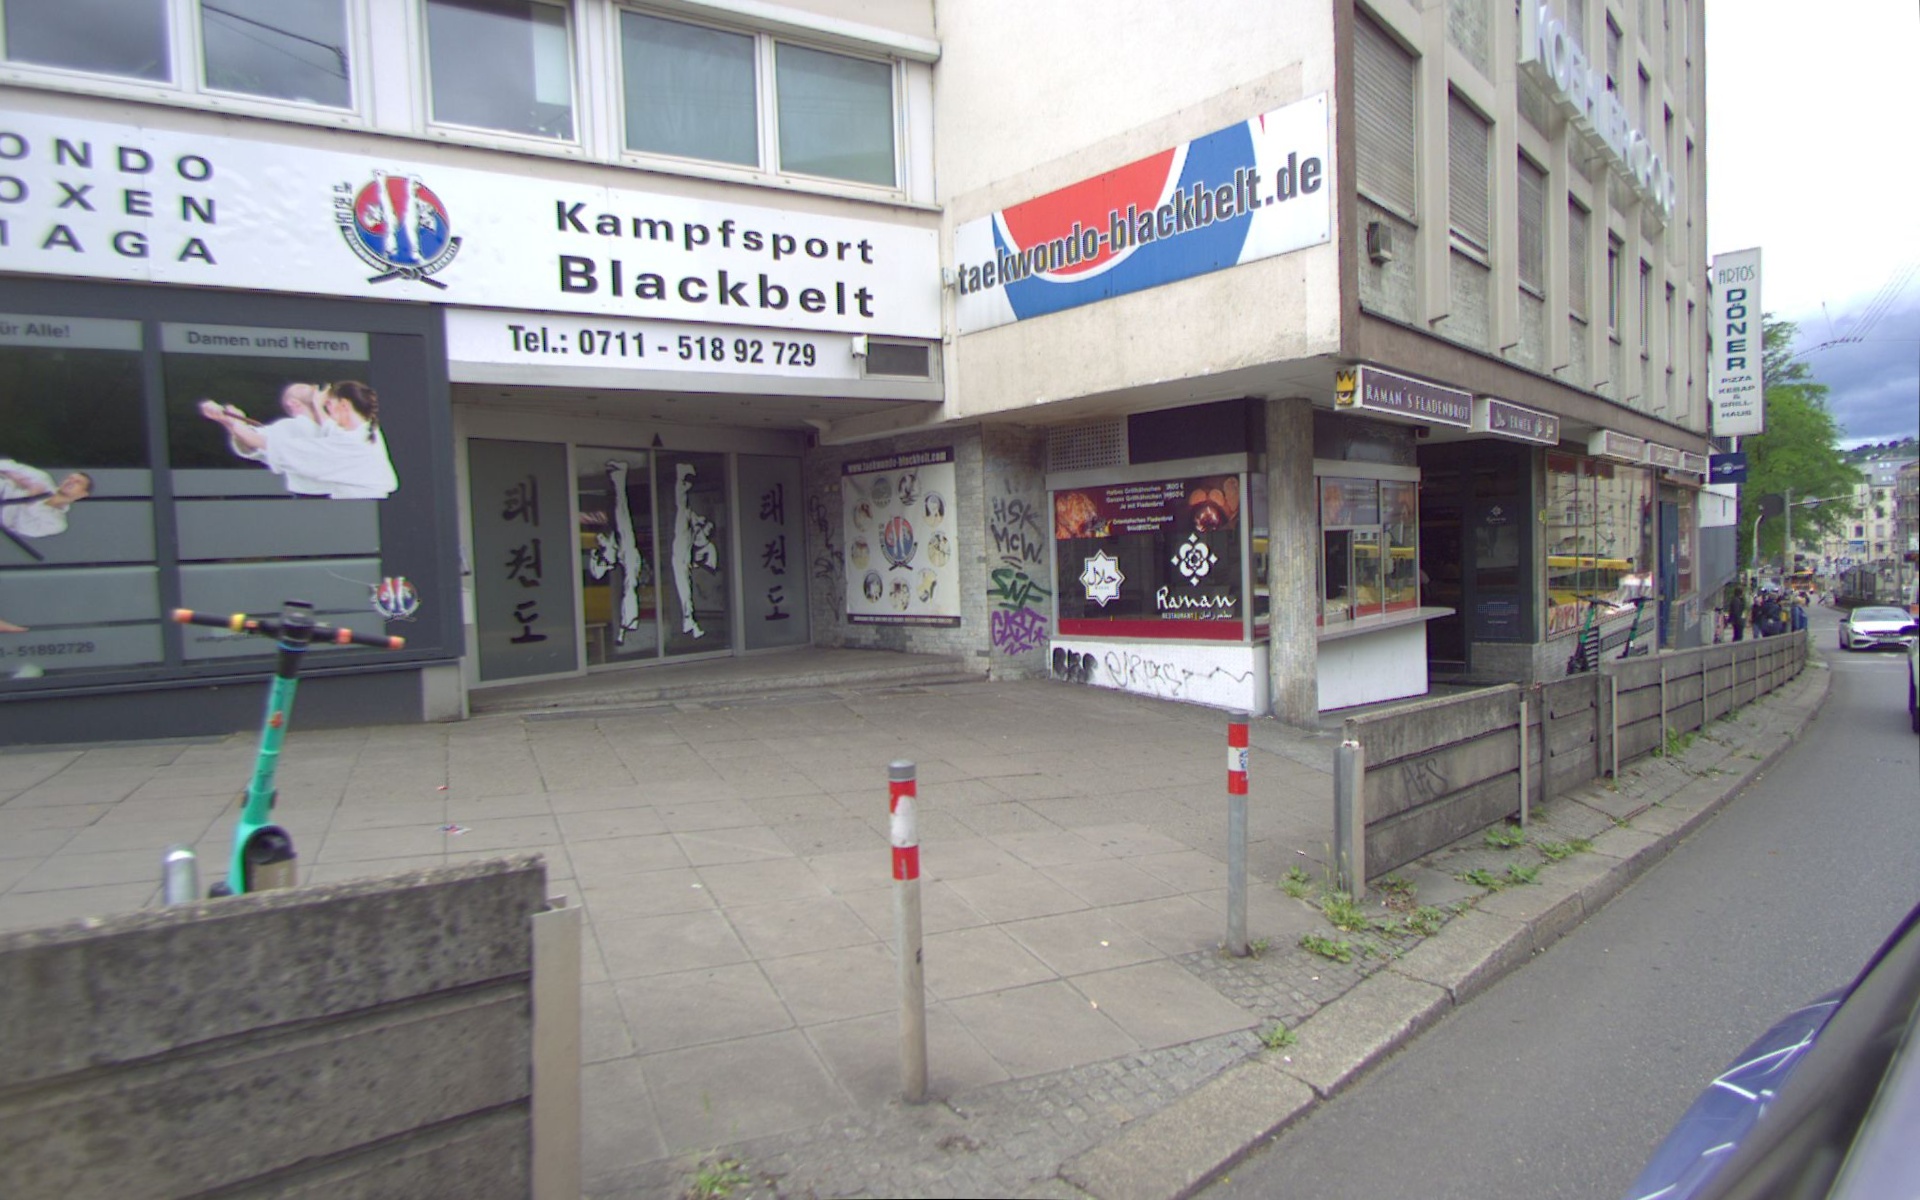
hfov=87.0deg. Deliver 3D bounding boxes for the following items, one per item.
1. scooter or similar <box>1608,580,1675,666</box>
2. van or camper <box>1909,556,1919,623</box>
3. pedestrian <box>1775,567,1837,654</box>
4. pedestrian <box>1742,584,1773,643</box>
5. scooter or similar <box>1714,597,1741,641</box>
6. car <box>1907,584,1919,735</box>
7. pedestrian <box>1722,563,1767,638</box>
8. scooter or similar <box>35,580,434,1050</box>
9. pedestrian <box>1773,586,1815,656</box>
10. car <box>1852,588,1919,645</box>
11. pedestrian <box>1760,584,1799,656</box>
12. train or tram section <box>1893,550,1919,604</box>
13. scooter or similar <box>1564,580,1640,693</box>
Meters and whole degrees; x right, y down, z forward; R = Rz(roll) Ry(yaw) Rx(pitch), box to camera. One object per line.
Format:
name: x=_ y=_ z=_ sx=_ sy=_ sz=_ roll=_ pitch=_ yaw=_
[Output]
scooter or similar: x=10.492 y=0.337 z=15.570 sx=0.631 sy=1.265 sz=1.312 roll=0 pitch=0 yaw=44
van or camper: x=37.658 y=-0.414 z=37.930 sx=2.196 sy=2.591 sz=6.290 roll=-2 pitch=-1 yaw=36
pedestrian: x=21.544 y=0.256 z=25.784 sx=0.947 sy=2.086 sz=0.767 roll=10 pitch=7 yaw=41
pedestrian: x=25.212 y=0.419 z=31.993 sx=0.719 sy=1.808 sz=0.871 roll=-2 pitch=-1 yaw=39
scooter or similar: x=22.961 y=0.563 z=30.260 sx=0.962 sy=1.292 sz=0.428 roll=0 pitch=-1 yaw=-39
car: x=12.882 y=0.617 z=11.927 sx=4.689 sy=1.652 sz=1.933 roll=-1 pitch=0 yaw=-40
pedestrian: x=19.957 y=0.026 z=25.755 sx=0.726 sy=1.832 sz=0.644 roll=-6 pitch=-4 yaw=42
scooter or similar: x=-2.057 y=0.544 z=2.885 sx=0.996 sy=1.197 sz=0.375 roll=0 pitch=0 yaw=14
pedestrian: x=22.194 y=0.547 z=26.934 sx=0.737 sy=1.817 sz=0.645 roll=-5 pitch=-3 yaw=42
car: x=30.216 y=0.512 z=32.870 sx=1.662 sy=1.549 sz=3.945 roll=-3 pitch=1 yaw=39
pedestrian: x=19.758 y=0.469 z=24.395 sx=0.562 sy=1.671 sz=0.582 roll=7 pitch=4 yaw=41
train or tram section: x=62.978 y=-1.522 z=64.150 sx=2.868 sy=3.463 sz=14.067 roll=-3 pitch=-1 yaw=32
scooter or similar: x=8.932 y=0.481 z=14.066 sx=0.668 sy=1.494 sz=1.159 roll=0 pitch=0 yaw=44
